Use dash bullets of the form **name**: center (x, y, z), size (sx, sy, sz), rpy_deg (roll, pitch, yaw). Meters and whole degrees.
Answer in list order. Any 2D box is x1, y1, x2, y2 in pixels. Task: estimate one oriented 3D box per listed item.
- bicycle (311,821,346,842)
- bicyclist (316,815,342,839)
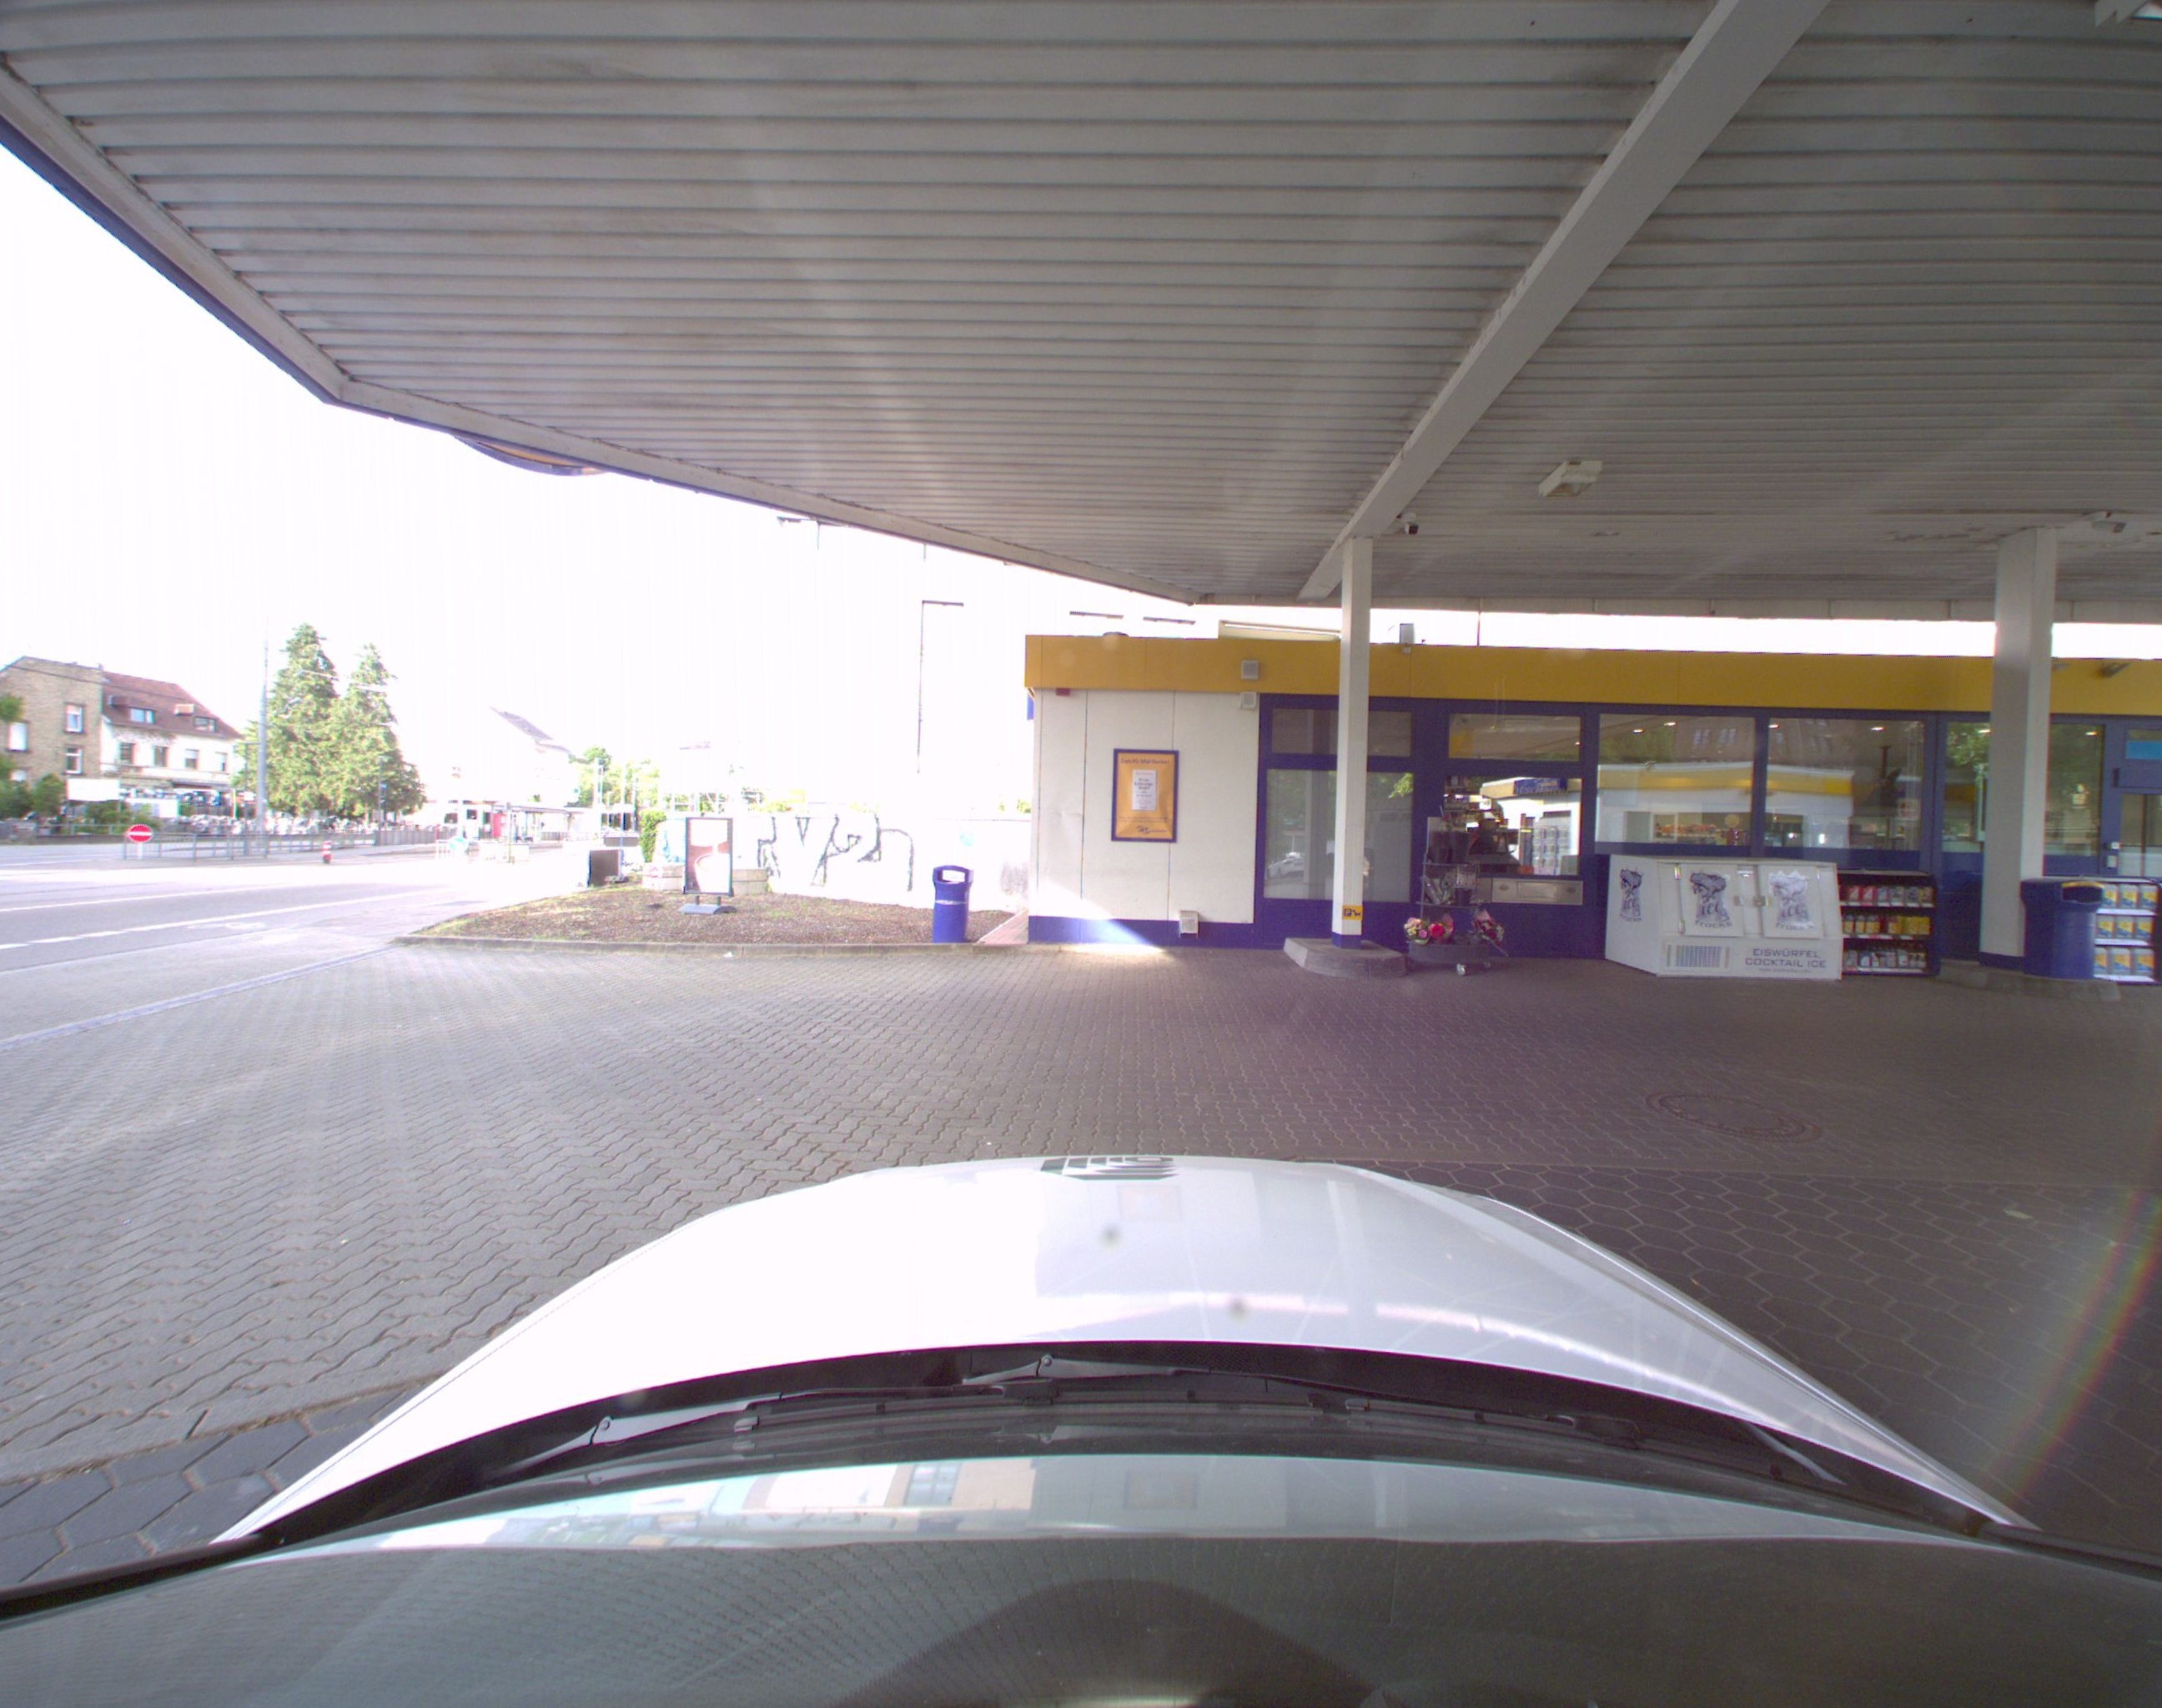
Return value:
- **bicycle**: center (-46.529, -1.392, 50.361), size (0.751, 1.203, 1.812), rpy_deg (5, 0, -16)
- **bicyclist**: center (-46.531, -1.656, 50.394), size (0.751, 1.409, 0.916), rpy_deg (5, 0, -16)
